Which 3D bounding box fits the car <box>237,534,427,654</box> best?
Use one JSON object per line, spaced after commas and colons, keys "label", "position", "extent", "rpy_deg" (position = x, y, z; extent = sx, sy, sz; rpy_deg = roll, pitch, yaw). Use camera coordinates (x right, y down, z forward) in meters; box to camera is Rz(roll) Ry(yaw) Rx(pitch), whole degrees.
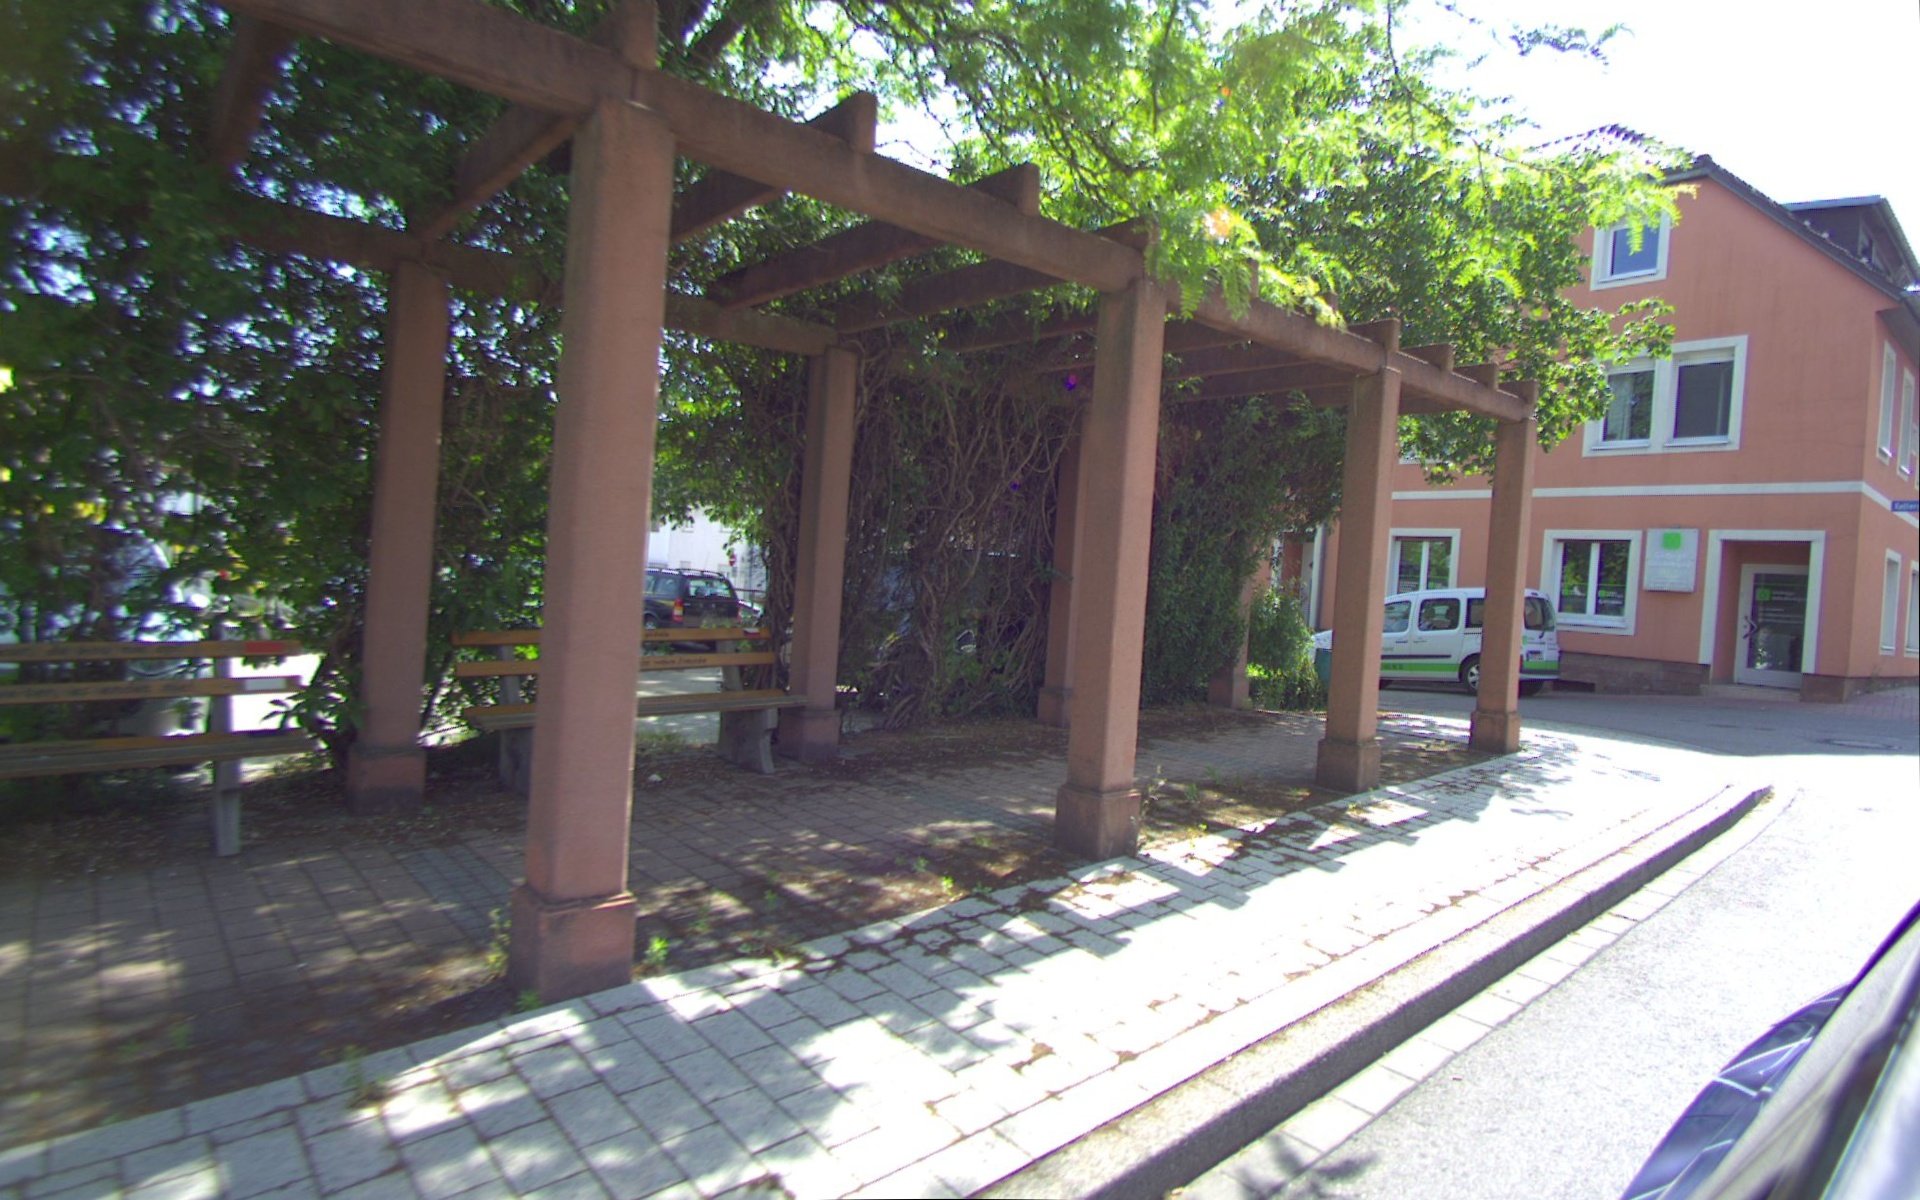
{"label": "car", "position": [-9.977, -0.165, 15.947], "extent": [1.727, 1.631, 3.976], "rpy_deg": [1, 2, -44]}

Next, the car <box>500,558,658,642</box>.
{"label": "car", "position": [-7.624, -0.054, 20.088], "extent": [1.496, 1.449, 3.875], "rpy_deg": [1, 2, -44]}

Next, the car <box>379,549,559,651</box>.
{"label": "car", "position": [-8.473, -0.062, 17.300], "extent": [1.627, 1.509, 3.875], "rpy_deg": [1, 2, -44]}

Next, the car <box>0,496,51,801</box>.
{"label": "car", "position": [-6.938, 0.102, 6.322], "extent": [1.696, 1.563, 4.486], "rpy_deg": [1, 3, -44]}

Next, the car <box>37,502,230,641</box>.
{"label": "car", "position": [-12.348, -0.459, 15.022], "extent": [1.853, 1.762, 4.179], "rpy_deg": [1, 2, -44]}

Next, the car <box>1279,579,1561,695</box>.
{"label": "car", "position": [7.844, 0.620, 17.603], "extent": [1.779, 1.776, 4.097], "rpy_deg": [1, -2, -37]}

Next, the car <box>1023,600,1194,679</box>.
{"label": "car", "position": [3.087, 0.829, 21.550], "extent": [1.548, 1.545, 3.498], "rpy_deg": [1, -2, -39]}
